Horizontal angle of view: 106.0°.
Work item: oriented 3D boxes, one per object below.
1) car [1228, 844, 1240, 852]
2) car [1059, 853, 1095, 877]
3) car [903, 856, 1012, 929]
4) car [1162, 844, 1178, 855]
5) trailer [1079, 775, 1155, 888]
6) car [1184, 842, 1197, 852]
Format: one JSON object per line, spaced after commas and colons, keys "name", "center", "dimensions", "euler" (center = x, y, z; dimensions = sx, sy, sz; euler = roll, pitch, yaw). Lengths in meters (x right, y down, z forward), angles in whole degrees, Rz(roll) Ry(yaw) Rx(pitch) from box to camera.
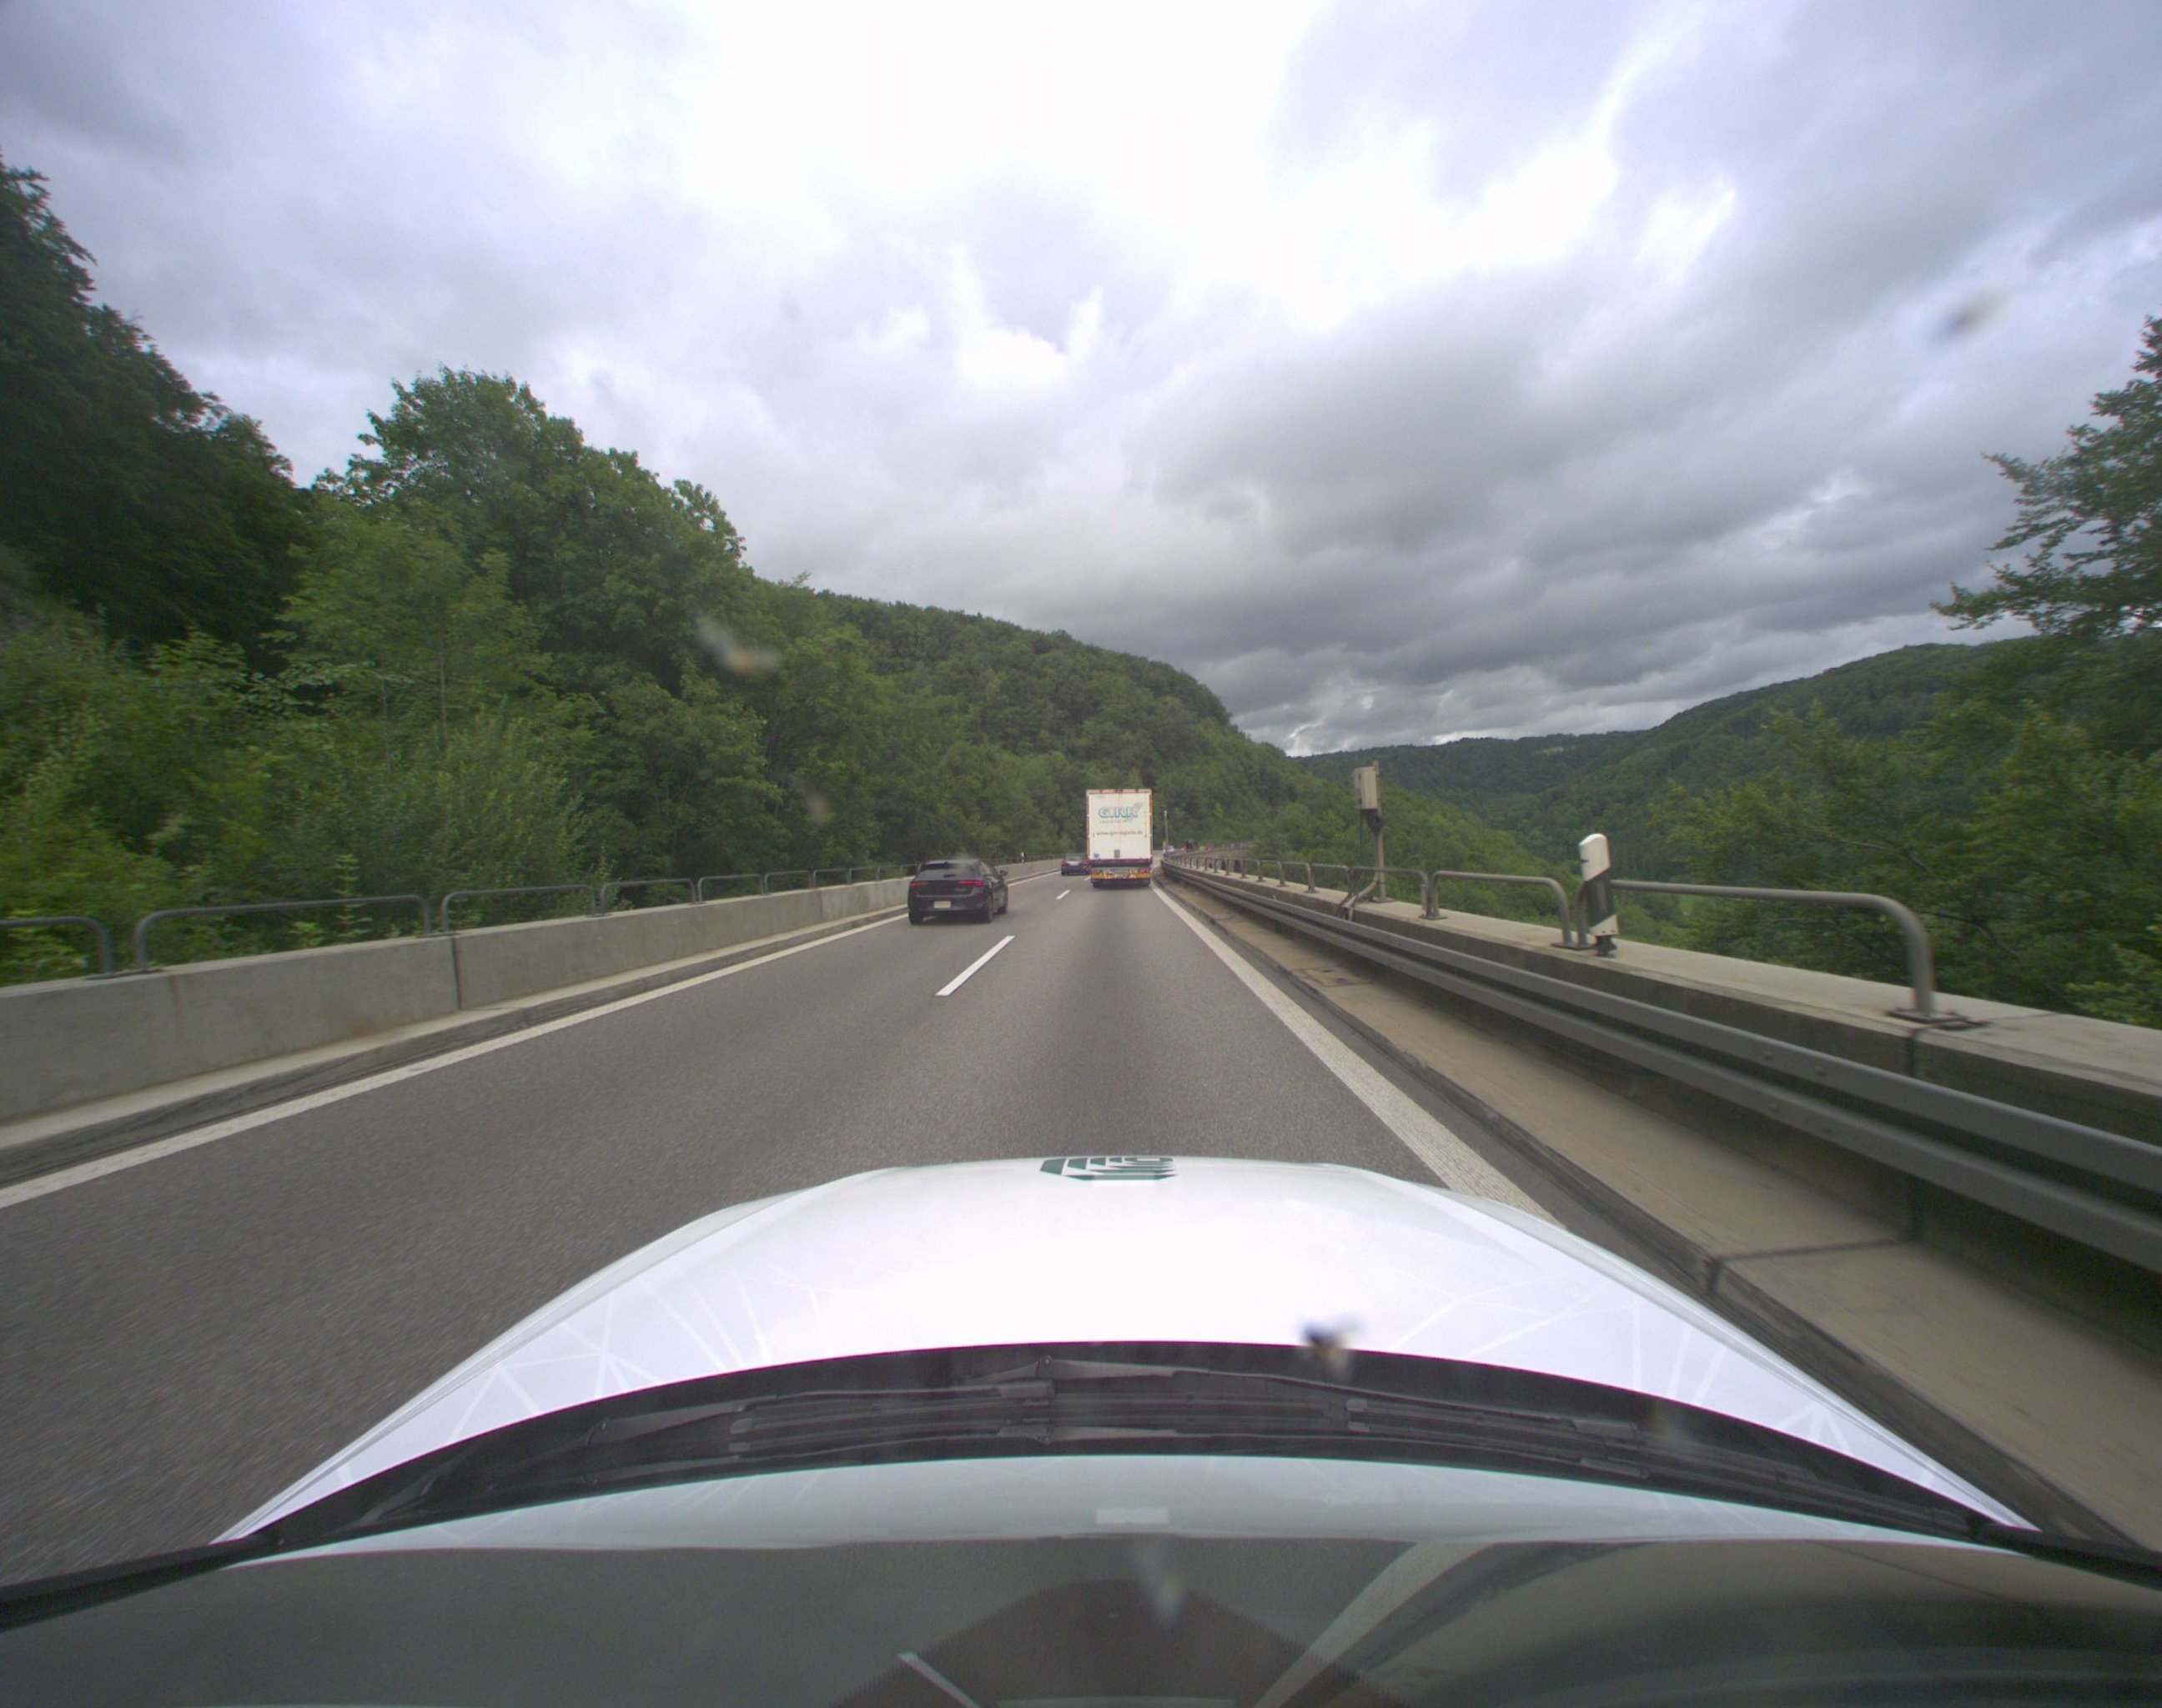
{"name": "car", "center": [36.809, -1.415, 195.586], "dimensions": [1.976, 1.794, 4.021], "euler": [-2, -1, 21]}
{"name": "car", "center": [-0.217, 0.720, 54.288], "dimensions": [1.874, 1.510, 4.425], "euler": [-2, 0, 5]}
{"name": "car", "center": [-2.755, 0.804, 19.228], "dimensions": [1.767, 1.461, 4.582], "euler": [-1, 0, 1]}
{"name": "car", "center": [15.658, -0.789, 143.284], "dimensions": [1.978, 1.794, 4.018], "euler": [-2, -1, 17]}
{"name": "trailer", "center": [1.710, -0.841, 37.716], "dimensions": [2.801, 4.302, 12.254], "euler": [-2, 0, 3]}
{"name": "car", "center": [22.357, -1.402, 166.481], "dimensions": [1.978, 2.014, 4.018], "euler": [-2, -1, 17]}
